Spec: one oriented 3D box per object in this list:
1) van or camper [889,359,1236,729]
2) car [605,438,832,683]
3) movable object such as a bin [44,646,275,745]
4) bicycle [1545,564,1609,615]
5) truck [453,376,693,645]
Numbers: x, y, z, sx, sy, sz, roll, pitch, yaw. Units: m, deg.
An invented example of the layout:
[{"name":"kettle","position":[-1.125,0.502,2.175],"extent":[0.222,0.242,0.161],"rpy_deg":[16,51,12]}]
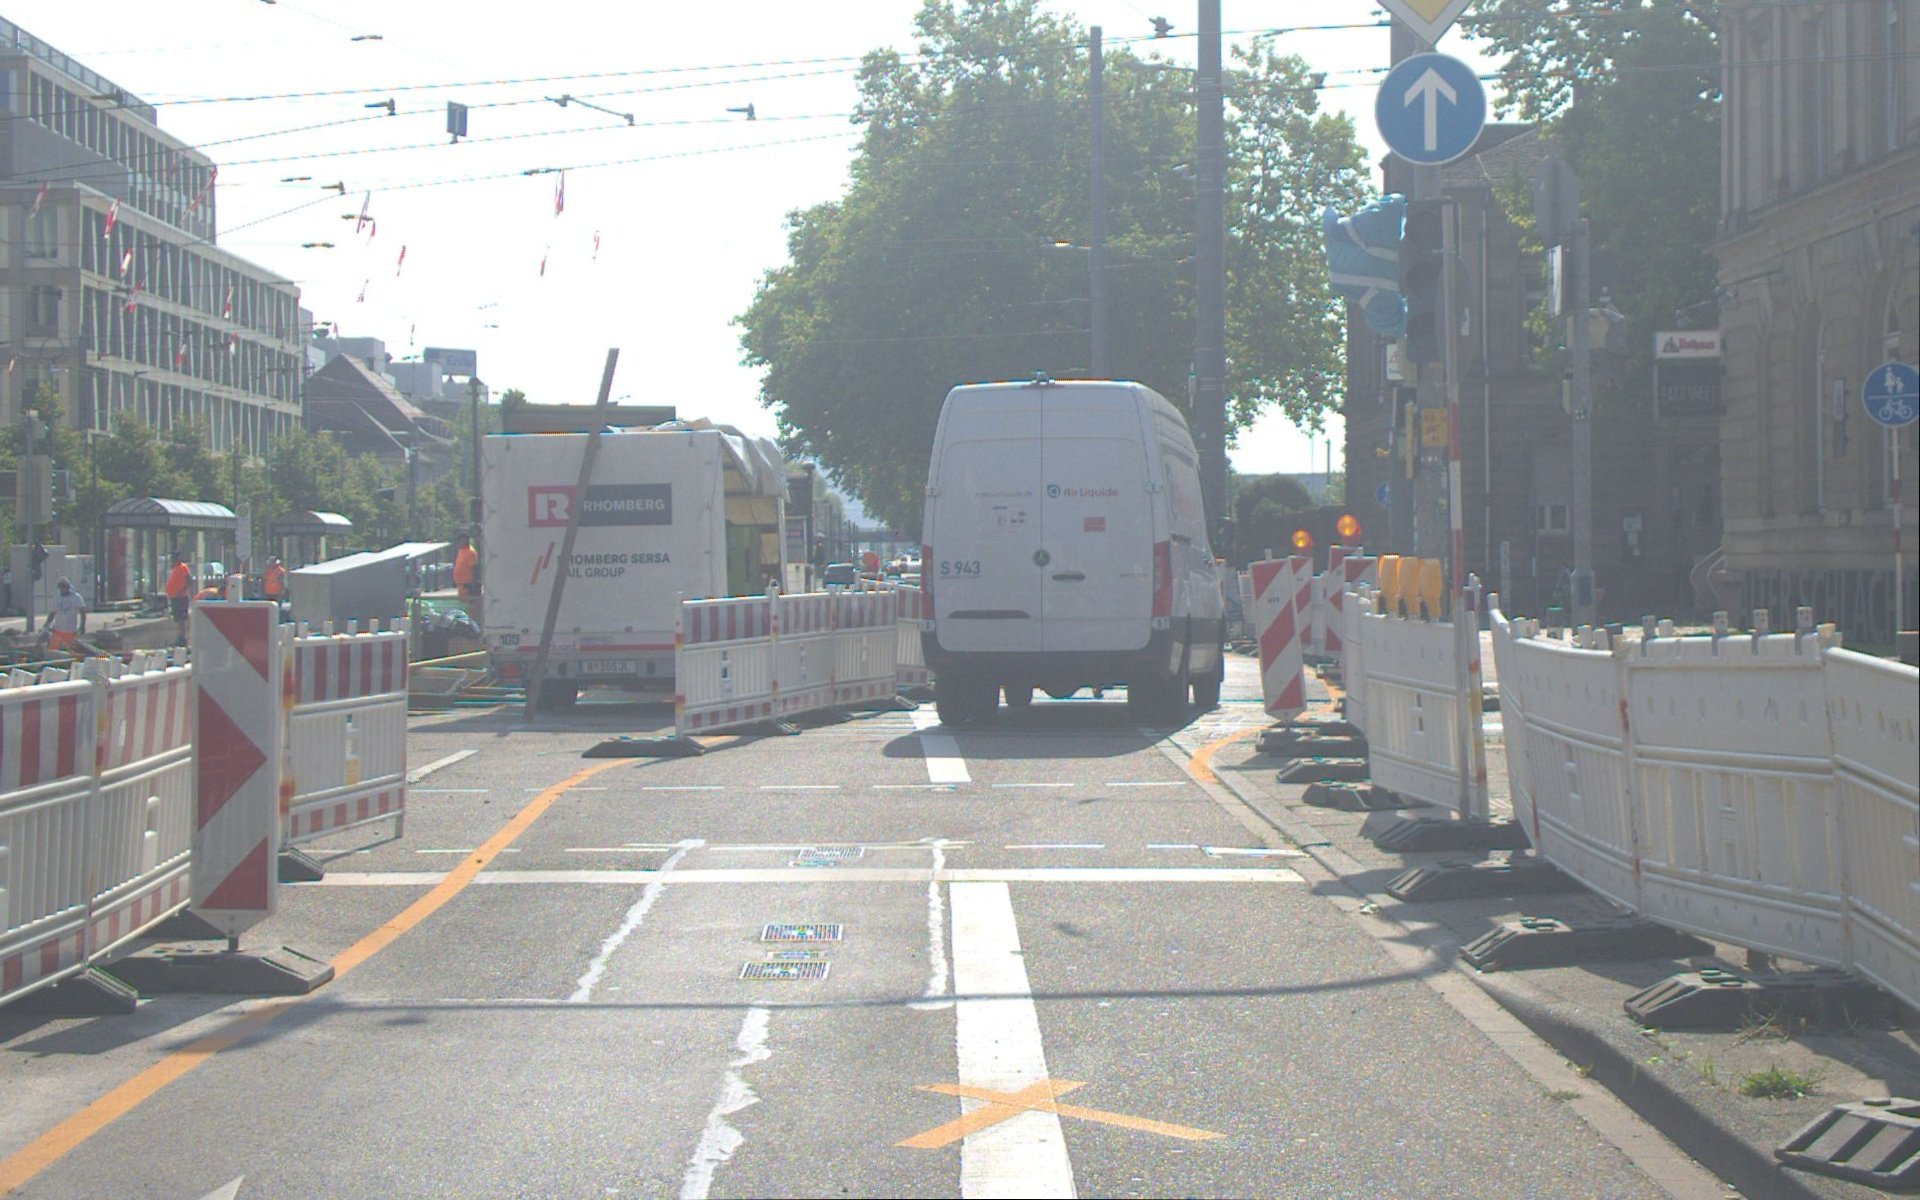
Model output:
[{"name":"van or camper","position":[0.966,-0.481,28.234],"extent":[2.116,2.673,5.249],"rpy_deg":[-2,1,9]},{"name":"car","position":[-2.541,-0.417,37.863],"extent":[2.207,2.416,7.200],"rpy_deg":[-1,0,-2]},{"name":"movable object such as a bin","position":[-6.108,0.717,26.201],"extent":[1.721,0.711,0.716],"rpy_deg":[0,0,33]},{"name":"bicycle","position":[13.235,-0.237,73.784],"extent":[0.491,0.996,1.819],"rpy_deg":[-1,3,-20]},{"name":"truck","position":[-6.291,-1.396,54.709],"extent":[2.791,3.899,8.421],"rpy_deg":[1,1,-13]}]
